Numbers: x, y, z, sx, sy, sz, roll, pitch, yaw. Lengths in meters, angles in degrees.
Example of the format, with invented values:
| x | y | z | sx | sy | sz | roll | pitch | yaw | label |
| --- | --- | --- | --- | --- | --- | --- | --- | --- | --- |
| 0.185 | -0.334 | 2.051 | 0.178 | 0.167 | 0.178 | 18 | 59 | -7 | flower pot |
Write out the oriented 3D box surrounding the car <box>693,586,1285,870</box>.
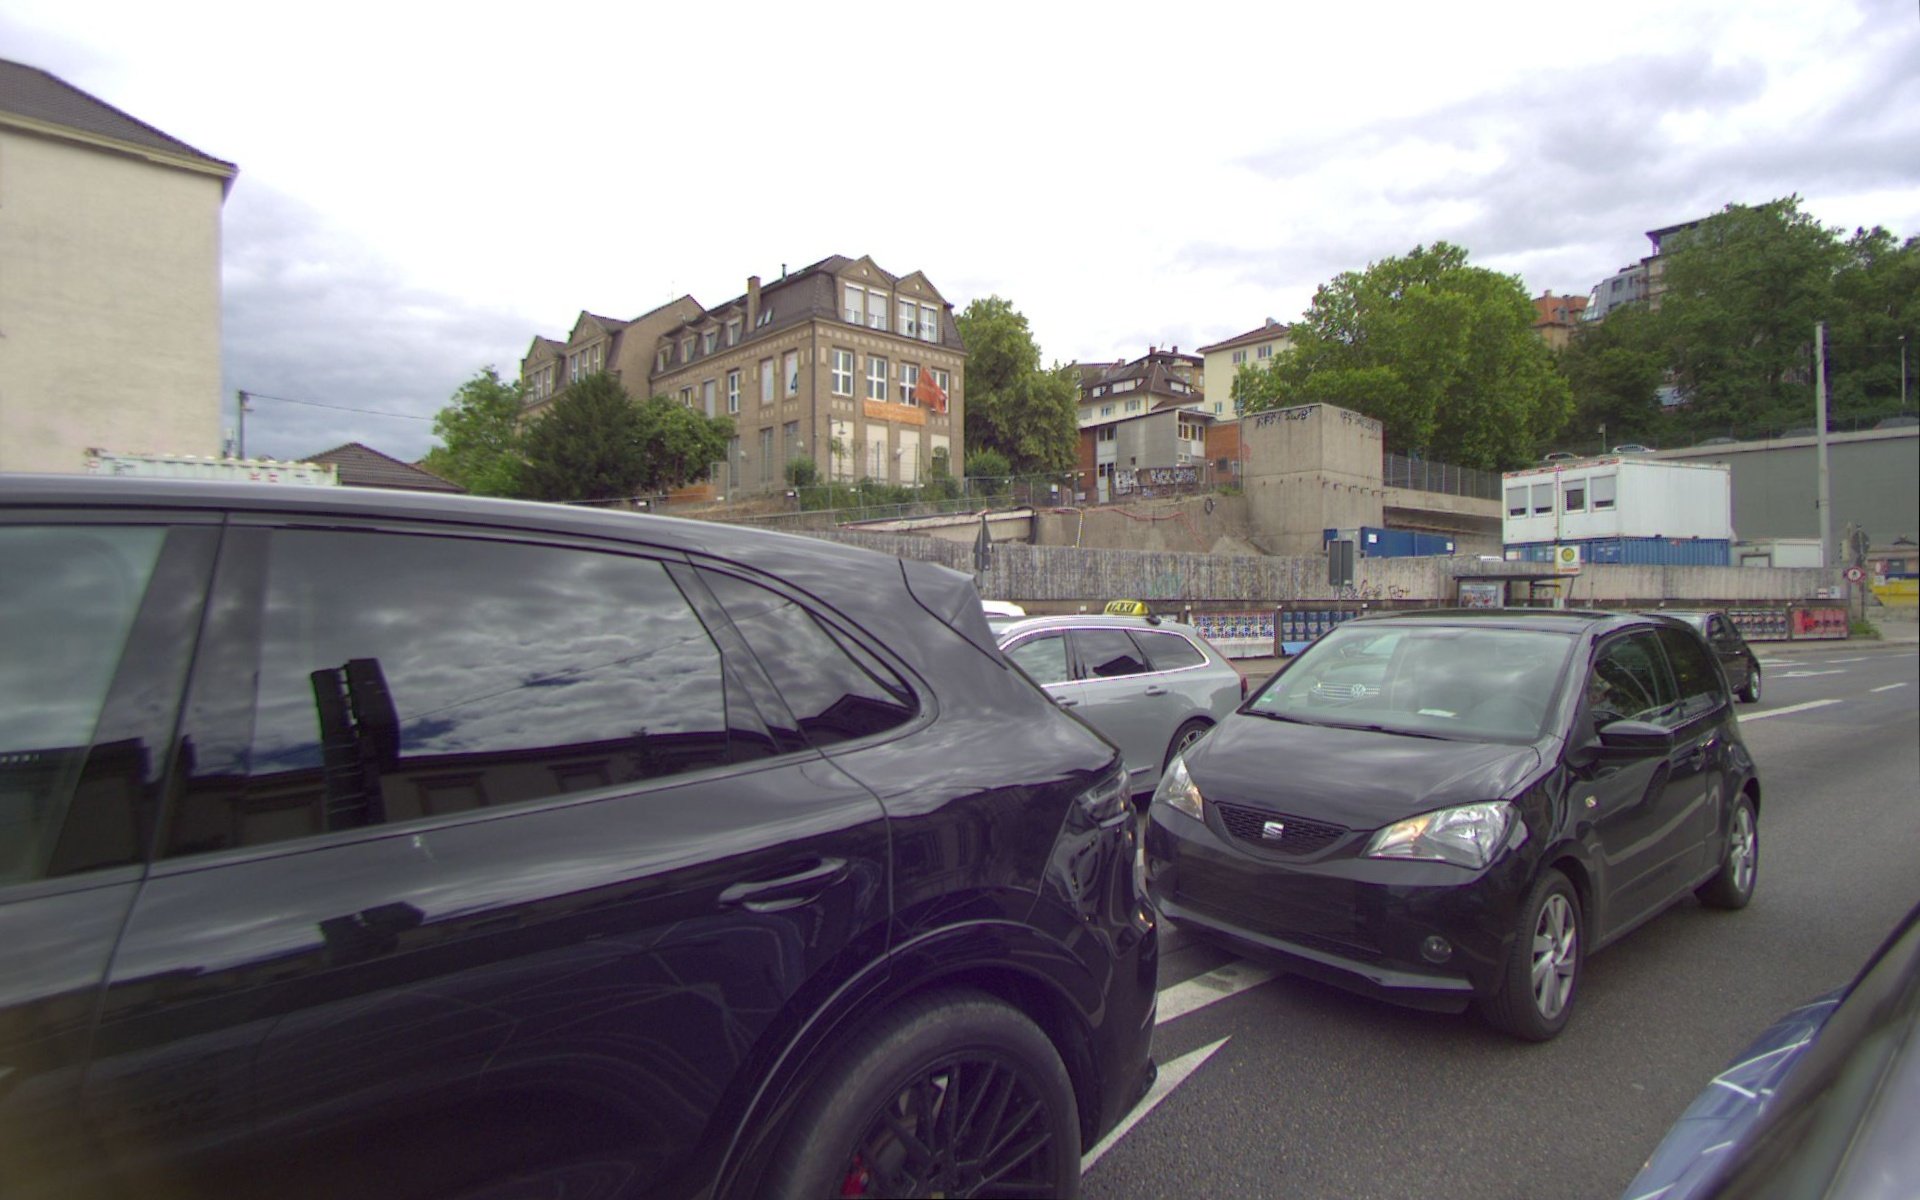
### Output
| x | y | z | sx | sy | sz | roll | pitch | yaw | label |
| --- | --- | --- | --- | --- | --- | --- | --- | --- | --- |
| 0.393 | 0.647 | 7.347 | 4.142 | 1.484 | 1.825 | -1 | 0 | -40 | car |

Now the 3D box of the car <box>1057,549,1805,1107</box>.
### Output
| x | y | z | sx | sy | sz | roll | pitch | yaw | label |
| --- | --- | --- | --- | --- | --- | --- | --- | --- | --- |
| 2.406 | 0.621 | 4.726 | 3.841 | 1.575 | 1.661 | -1 | 0 | -39 | car |

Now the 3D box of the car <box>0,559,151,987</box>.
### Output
| x | y | z | sx | sy | sz | roll | pitch | yaw | label |
| --- | --- | --- | --- | --- | --- | --- | --- | --- | --- |
| -5.068 | 0.628 | 3.463 | 3.581 | 1.529 | 1.826 | -1 | 0 | -39 | car |

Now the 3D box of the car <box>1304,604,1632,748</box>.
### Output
| x | y | z | sx | sy | sz | roll | pitch | yaw | label |
| --- | --- | --- | --- | --- | --- | --- | --- | --- | --- |
| 6.017 | 0.757 | 11.813 | 4.139 | 1.381 | 1.827 | 1 | 0 | -38 | car |

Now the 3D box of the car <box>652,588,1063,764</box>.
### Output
| x | y | z | sx | sy | sz | roll | pitch | yaw | label |
| --- | --- | --- | --- | --- | --- | --- | --- | --- | --- |
| -0.946 | 0.623 | 10.610 | 4.004 | 1.484 | 1.824 | -1 | 1 | -42 | car |

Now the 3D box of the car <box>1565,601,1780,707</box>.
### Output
| x | y | z | sx | sy | sz | roll | pitch | yaw | label |
| --- | --- | --- | --- | --- | --- | --- | --- | --- | --- |
| 11.227 | 0.779 | 15.884 | 3.711 | 1.478 | 1.721 | 1 | -2 | -38 | car |

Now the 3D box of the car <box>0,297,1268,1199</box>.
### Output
| x | y | z | sx | sy | sz | roll | pitch | yaw | label |
| --- | --- | --- | --- | --- | --- | --- | --- | --- | --- |
| -1.663 | 0.547 | 1.673 | 4.497 | 1.689 | 1.998 | -1 | 0 | -39 | car |
